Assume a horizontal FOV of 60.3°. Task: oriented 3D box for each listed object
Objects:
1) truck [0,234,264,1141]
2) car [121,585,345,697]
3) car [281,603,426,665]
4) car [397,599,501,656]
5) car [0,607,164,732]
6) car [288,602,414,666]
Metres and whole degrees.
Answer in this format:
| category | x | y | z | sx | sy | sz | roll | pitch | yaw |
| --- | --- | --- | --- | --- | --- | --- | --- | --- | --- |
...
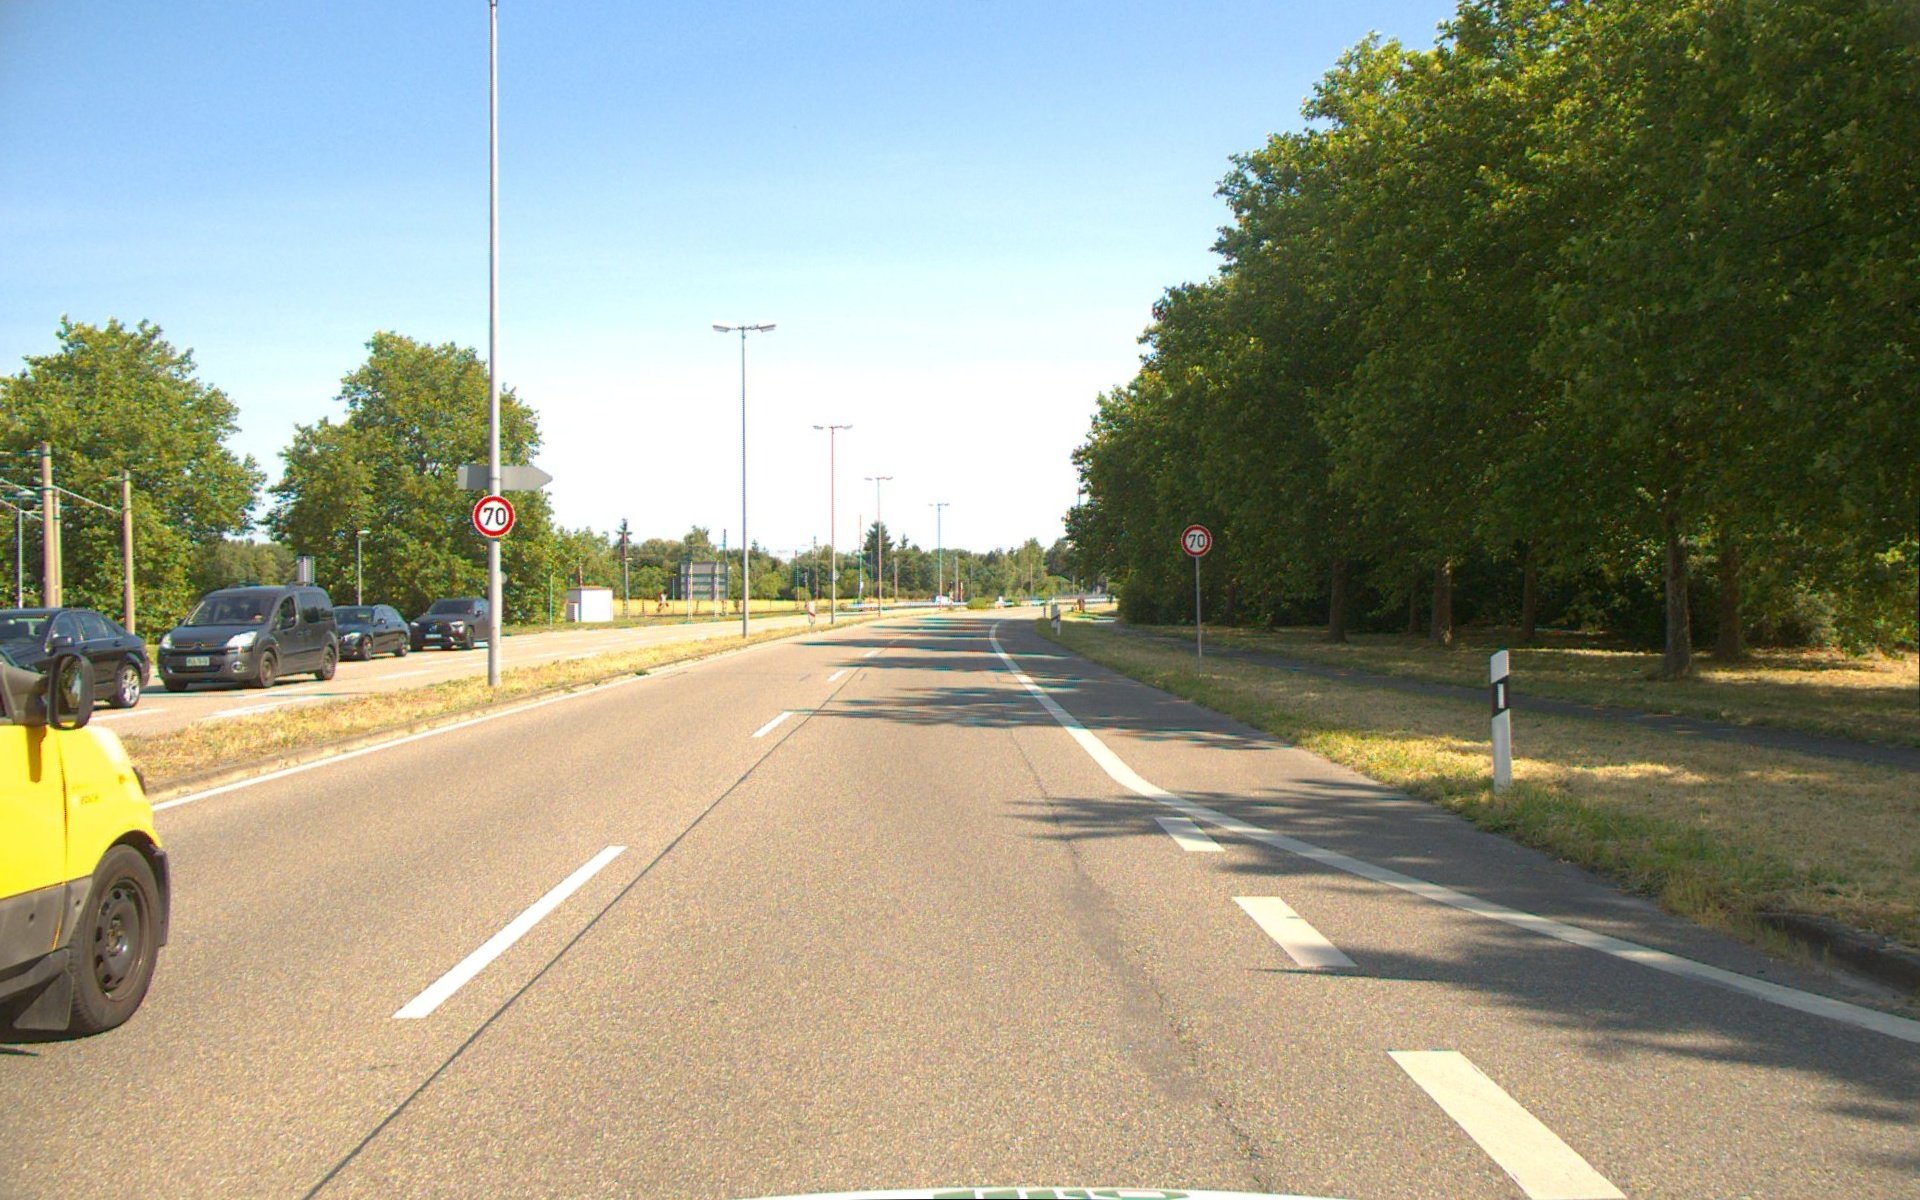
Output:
| category | x | y | z | sx | sy | sz | roll | pitch | yaw |
| --- | --- | --- | --- | --- | --- | --- | --- | --- | --- |
| truck | -3.650 | 0.239 | 3.394 | 2.069 | 2.500 | 5.915 | 0 | 0 | -2 |
| car | -12.688 | 0.662 | 29.219 | 1.940 | 1.810 | 4.489 | -1 | 0 | 0 |
| car | -16.383 | 0.880 | 44.939 | 2.028 | 1.555 | 4.686 | -1 | 0 | 3 |
| car | -16.348 | 0.834 | 53.162 | 1.942 | 1.689 | 4.555 | -1 | 0 | 0 |
| car | -12.488 | 0.859 | 21.603 | 1.940 | 1.483 | 4.451 | -1 | 0 | 1 |
| car | -16.415 | 0.888 | 44.825 | 1.825 | 1.572 | 4.405 | -2 | 0 | -1 |
